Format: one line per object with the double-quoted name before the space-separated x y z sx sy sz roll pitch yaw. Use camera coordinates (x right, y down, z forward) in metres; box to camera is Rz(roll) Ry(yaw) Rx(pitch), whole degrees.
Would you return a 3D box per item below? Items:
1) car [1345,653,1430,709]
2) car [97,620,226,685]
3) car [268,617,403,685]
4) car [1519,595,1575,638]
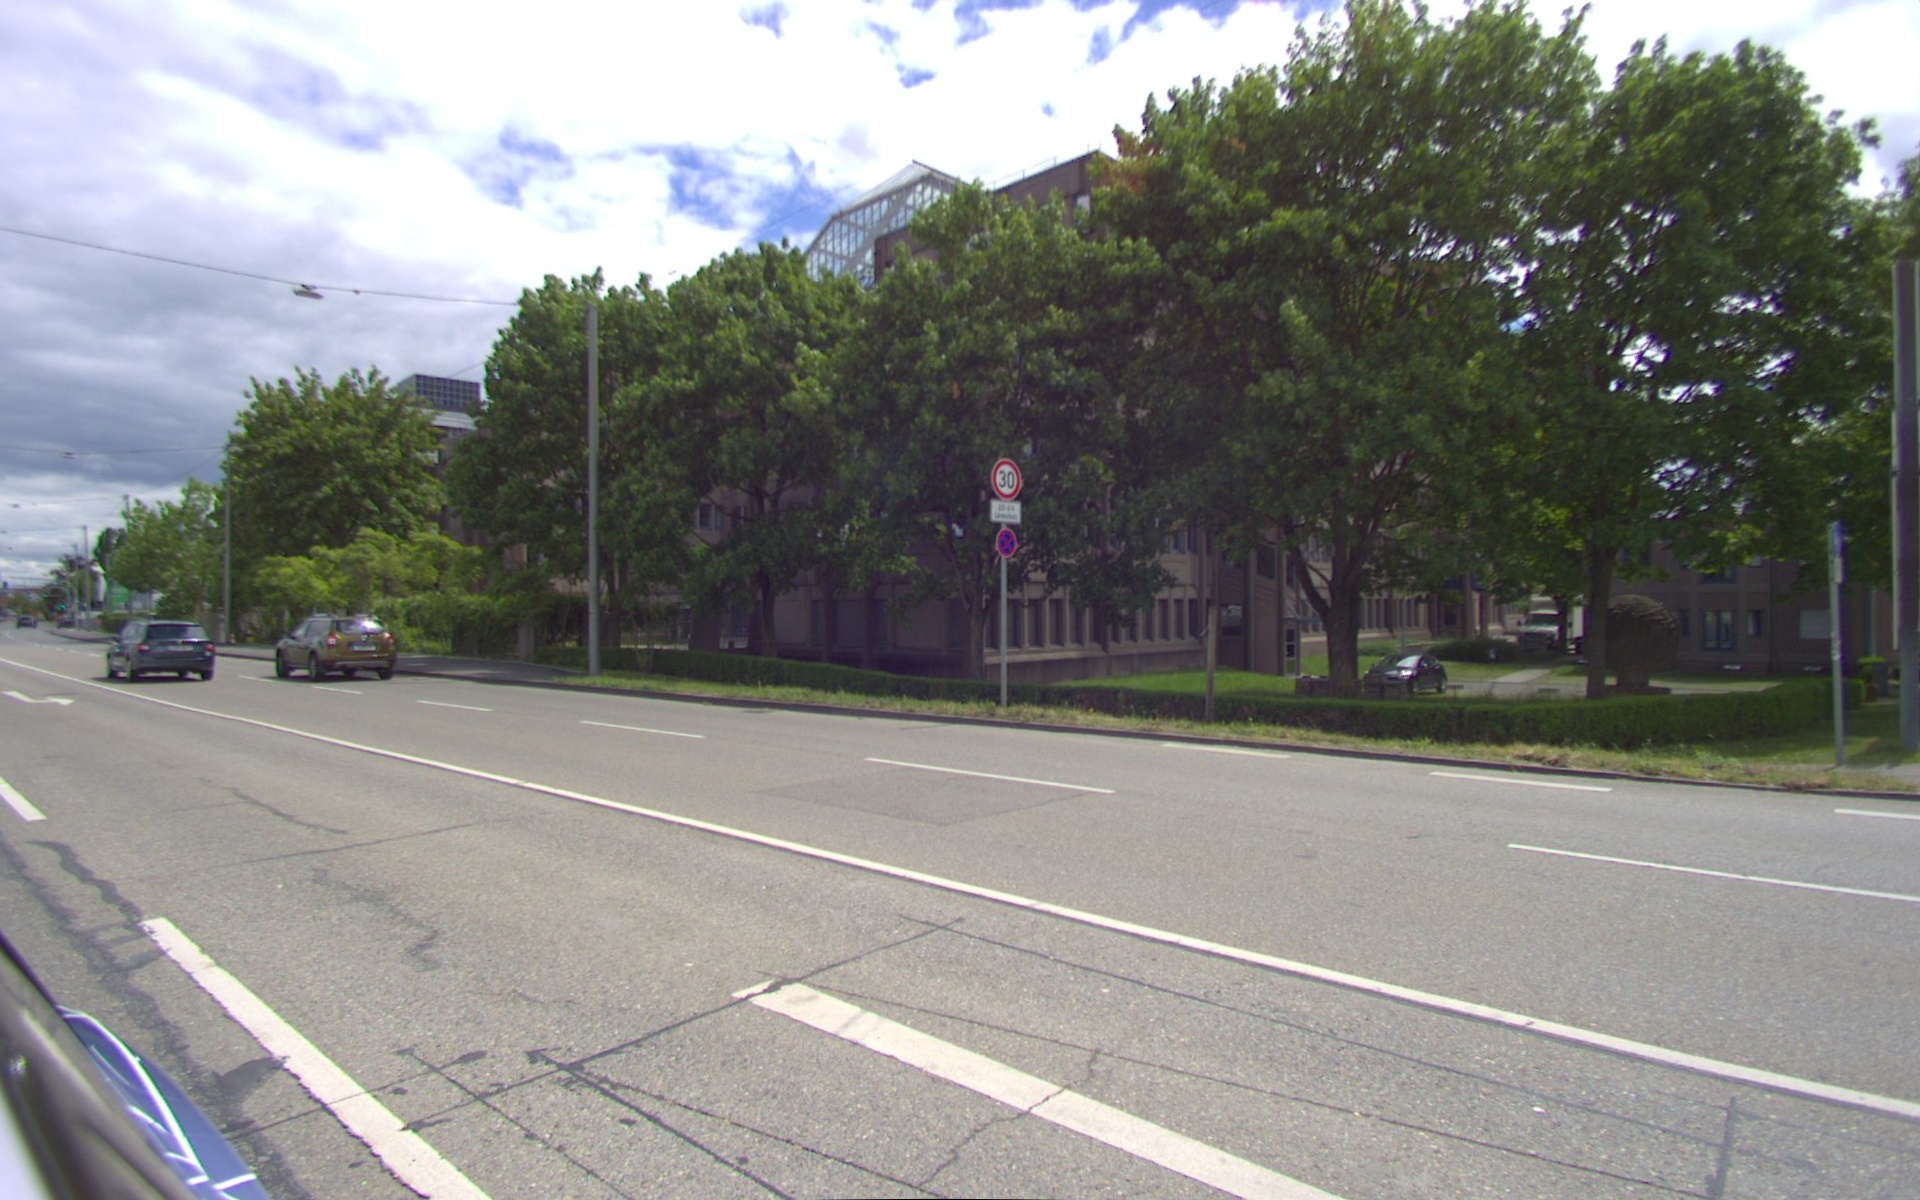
"car" 11.525 2.126 27.180 1.531 1.214 3.138 -1 0 34
"car" -19.682 1.236 24.896 3.998 1.465 1.777 -1 -2 41
"car" -16.046 1.238 25.930 3.999 1.608 1.873 -1 -1 42
"car" 33.073 0.901 56.988 1.999 2.259 3.945 -1 0 42
